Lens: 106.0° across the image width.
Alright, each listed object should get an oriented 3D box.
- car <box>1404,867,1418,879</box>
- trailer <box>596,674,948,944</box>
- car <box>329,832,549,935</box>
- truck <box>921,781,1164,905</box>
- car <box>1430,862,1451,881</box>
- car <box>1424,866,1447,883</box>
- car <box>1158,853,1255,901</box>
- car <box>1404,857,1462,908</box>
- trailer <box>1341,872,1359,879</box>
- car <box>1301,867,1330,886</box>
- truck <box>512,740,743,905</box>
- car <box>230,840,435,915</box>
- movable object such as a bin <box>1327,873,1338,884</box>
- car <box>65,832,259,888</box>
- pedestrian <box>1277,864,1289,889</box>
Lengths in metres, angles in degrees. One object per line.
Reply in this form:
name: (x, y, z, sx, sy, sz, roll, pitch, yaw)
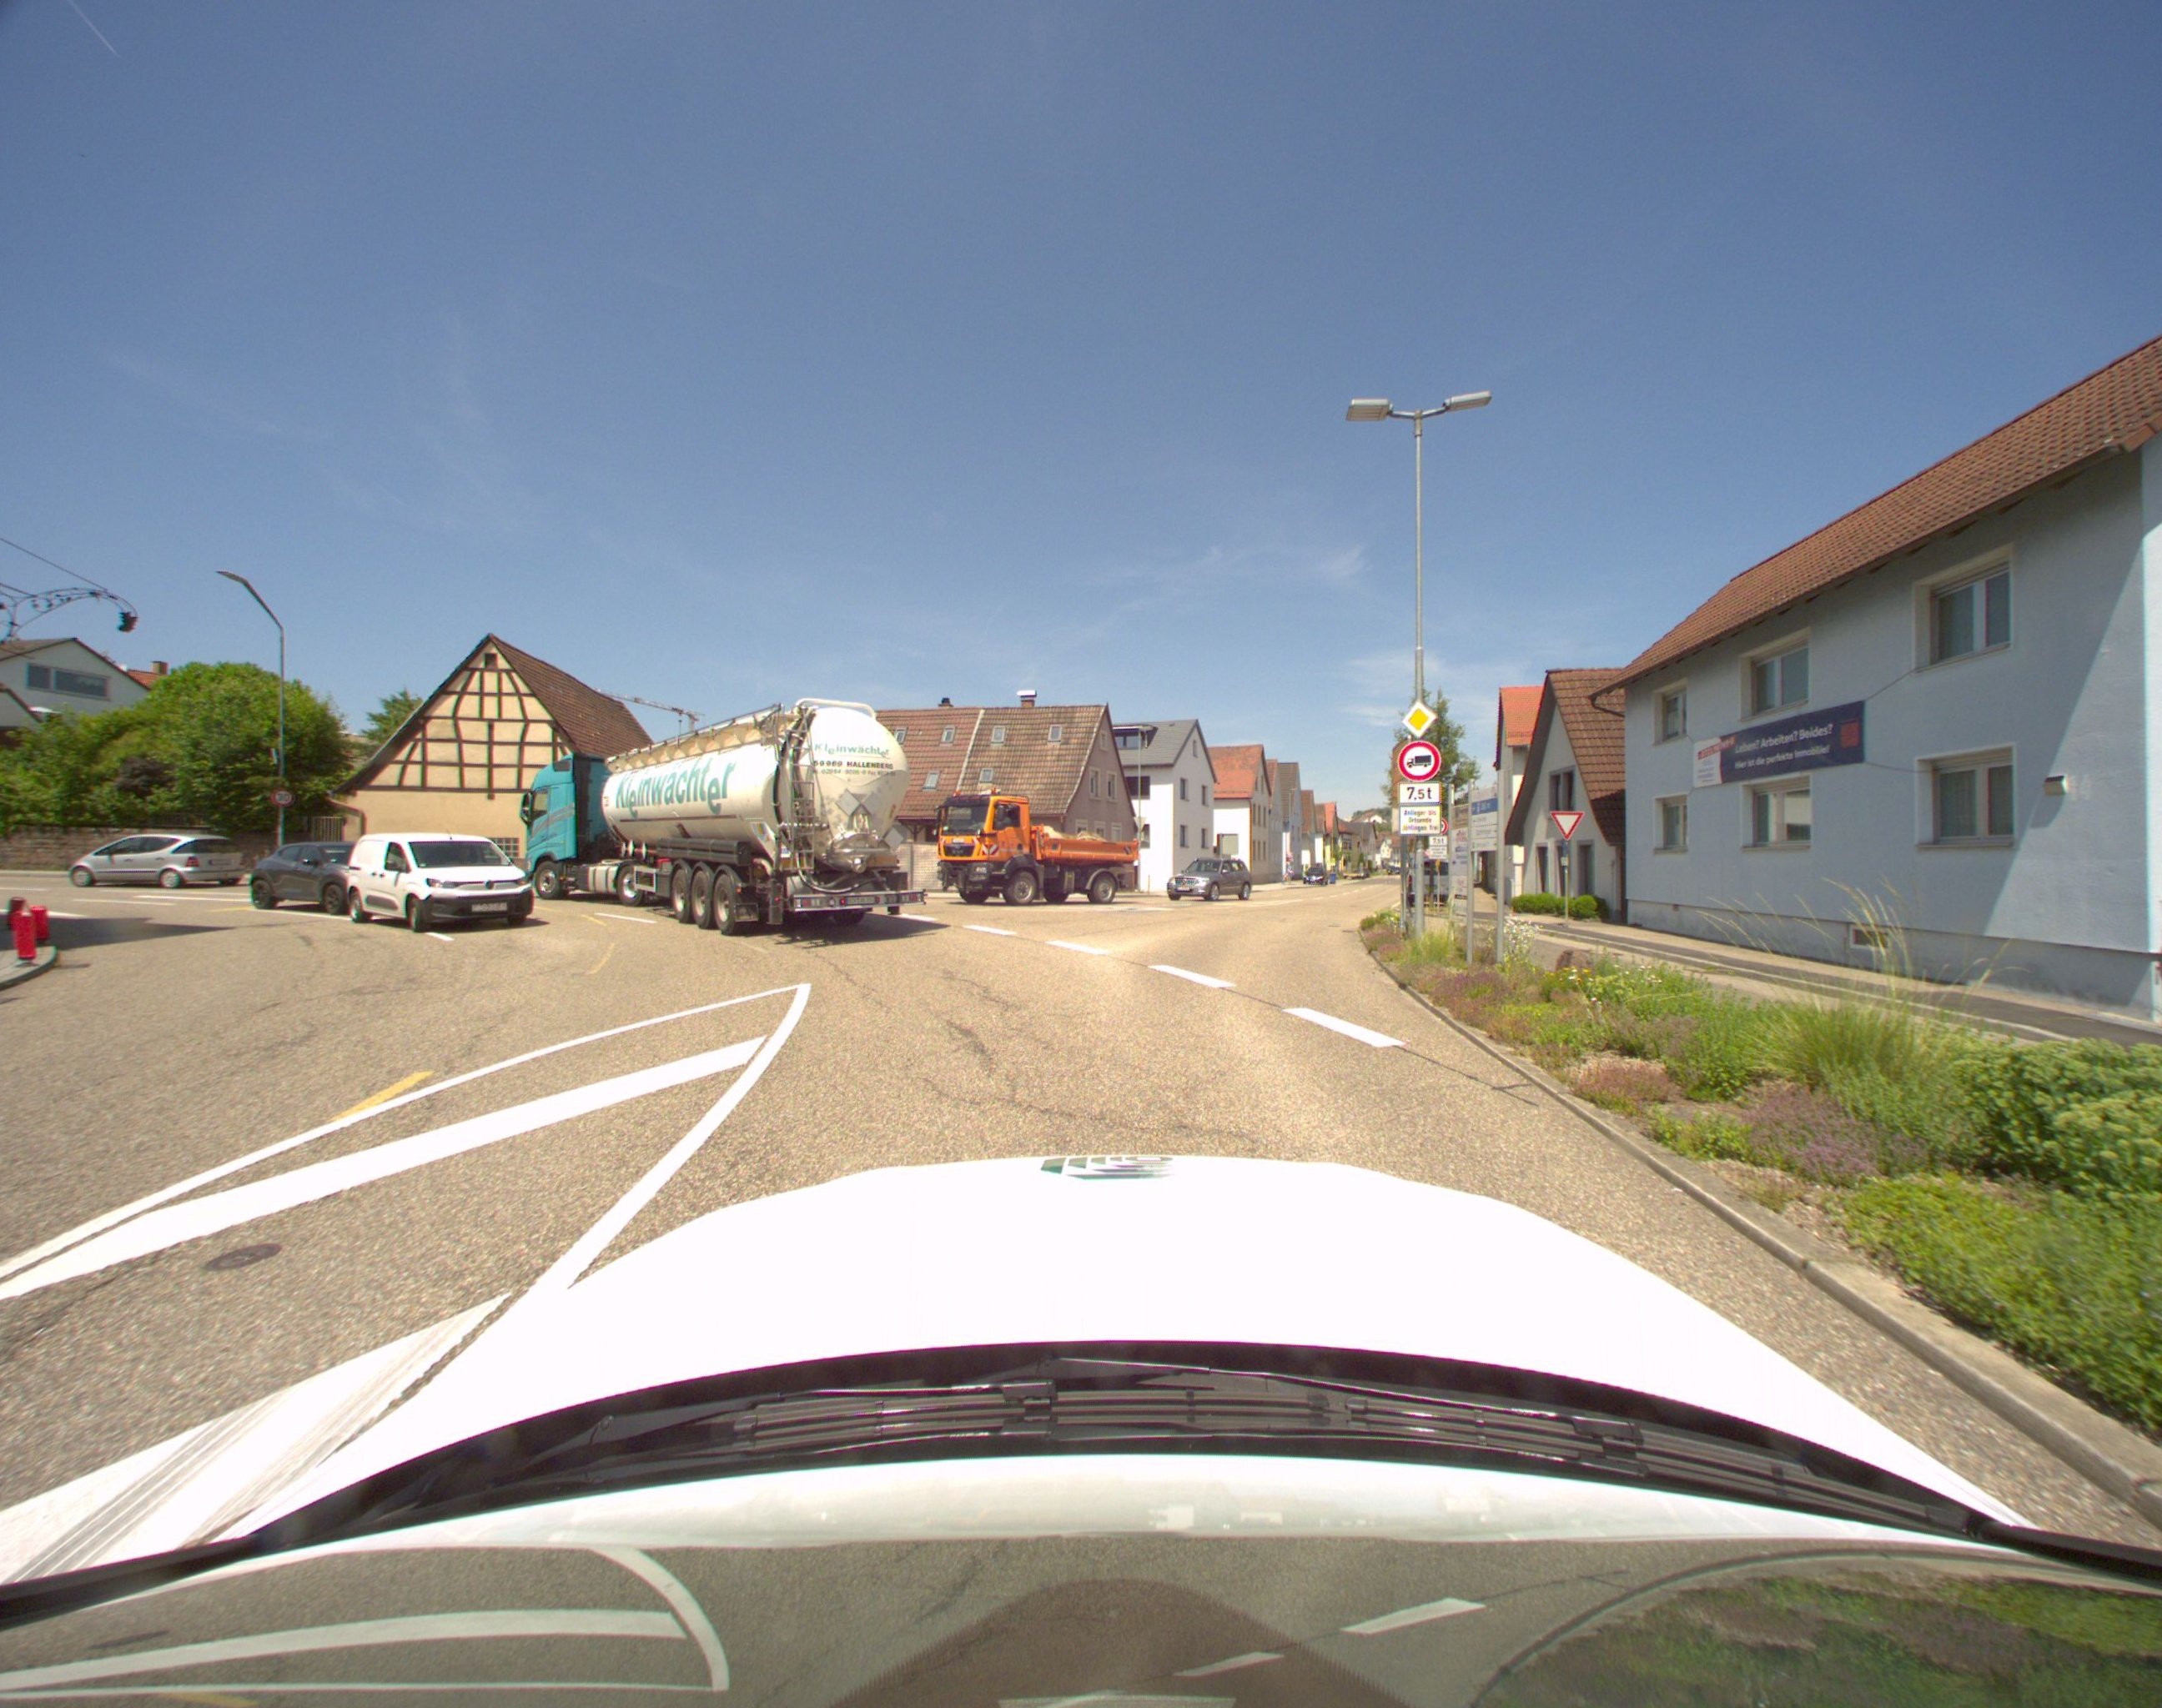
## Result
car: (45.628, 2.558, 112.600, 1.702, 1.596, 4.021, 1, -1, 23)
trailer: (-7.220, -0.706, 17.170, 2.978, 3.948, 11.480, 2, 0, -42)
car: (-12.771, 0.482, 16.142, 4.464, 1.785, 1.891, 1, 1, 30)
truck: (-0.885, -0.145, 24.558, 2.636, 3.181, 7.505, -1, -3, 44)
car: (40.852, 1.961, 92.559, 1.976, 1.992, 4.021, 1, -1, 22)
car: (35.652, 2.044, 82.030, 1.976, 1.585, 4.021, 1, -1, 22)
car: (4.914, 0.905, 31.400, 1.974, 1.675, 4.339, 1, -2, 35)
car: (14.299, 1.162, 33.255, 1.977, 1.912, 4.346, 1, -2, 21)
trailer: (33.311, 2.641, 100.976, 1.936, 0.777, 2.731, 1, 0, 15)
car: (21.426, 2.017, 74.245, 1.701, 1.596, 4.024, 0, -1, 29)
truck: (-12.359, -0.775, 22.189, 5.508, 3.965, 3.016, 1, 0, 29)
car: (-17.404, 0.511, 18.969, 3.954, 1.524, 1.806, 2, 0, 19)
movable object such as a bin: (24.379, 2.392, 78.909, 0.911, 1.049, 0.948, 1, -1, 24)
car: (-26.669, 0.178, 23.718, 3.581, 1.585, 1.788, 0, -1, 1)
pedestrian: (17.079, 1.896, 68.826, 0.761, 2.014, 0.982, 1, -1, 29)
